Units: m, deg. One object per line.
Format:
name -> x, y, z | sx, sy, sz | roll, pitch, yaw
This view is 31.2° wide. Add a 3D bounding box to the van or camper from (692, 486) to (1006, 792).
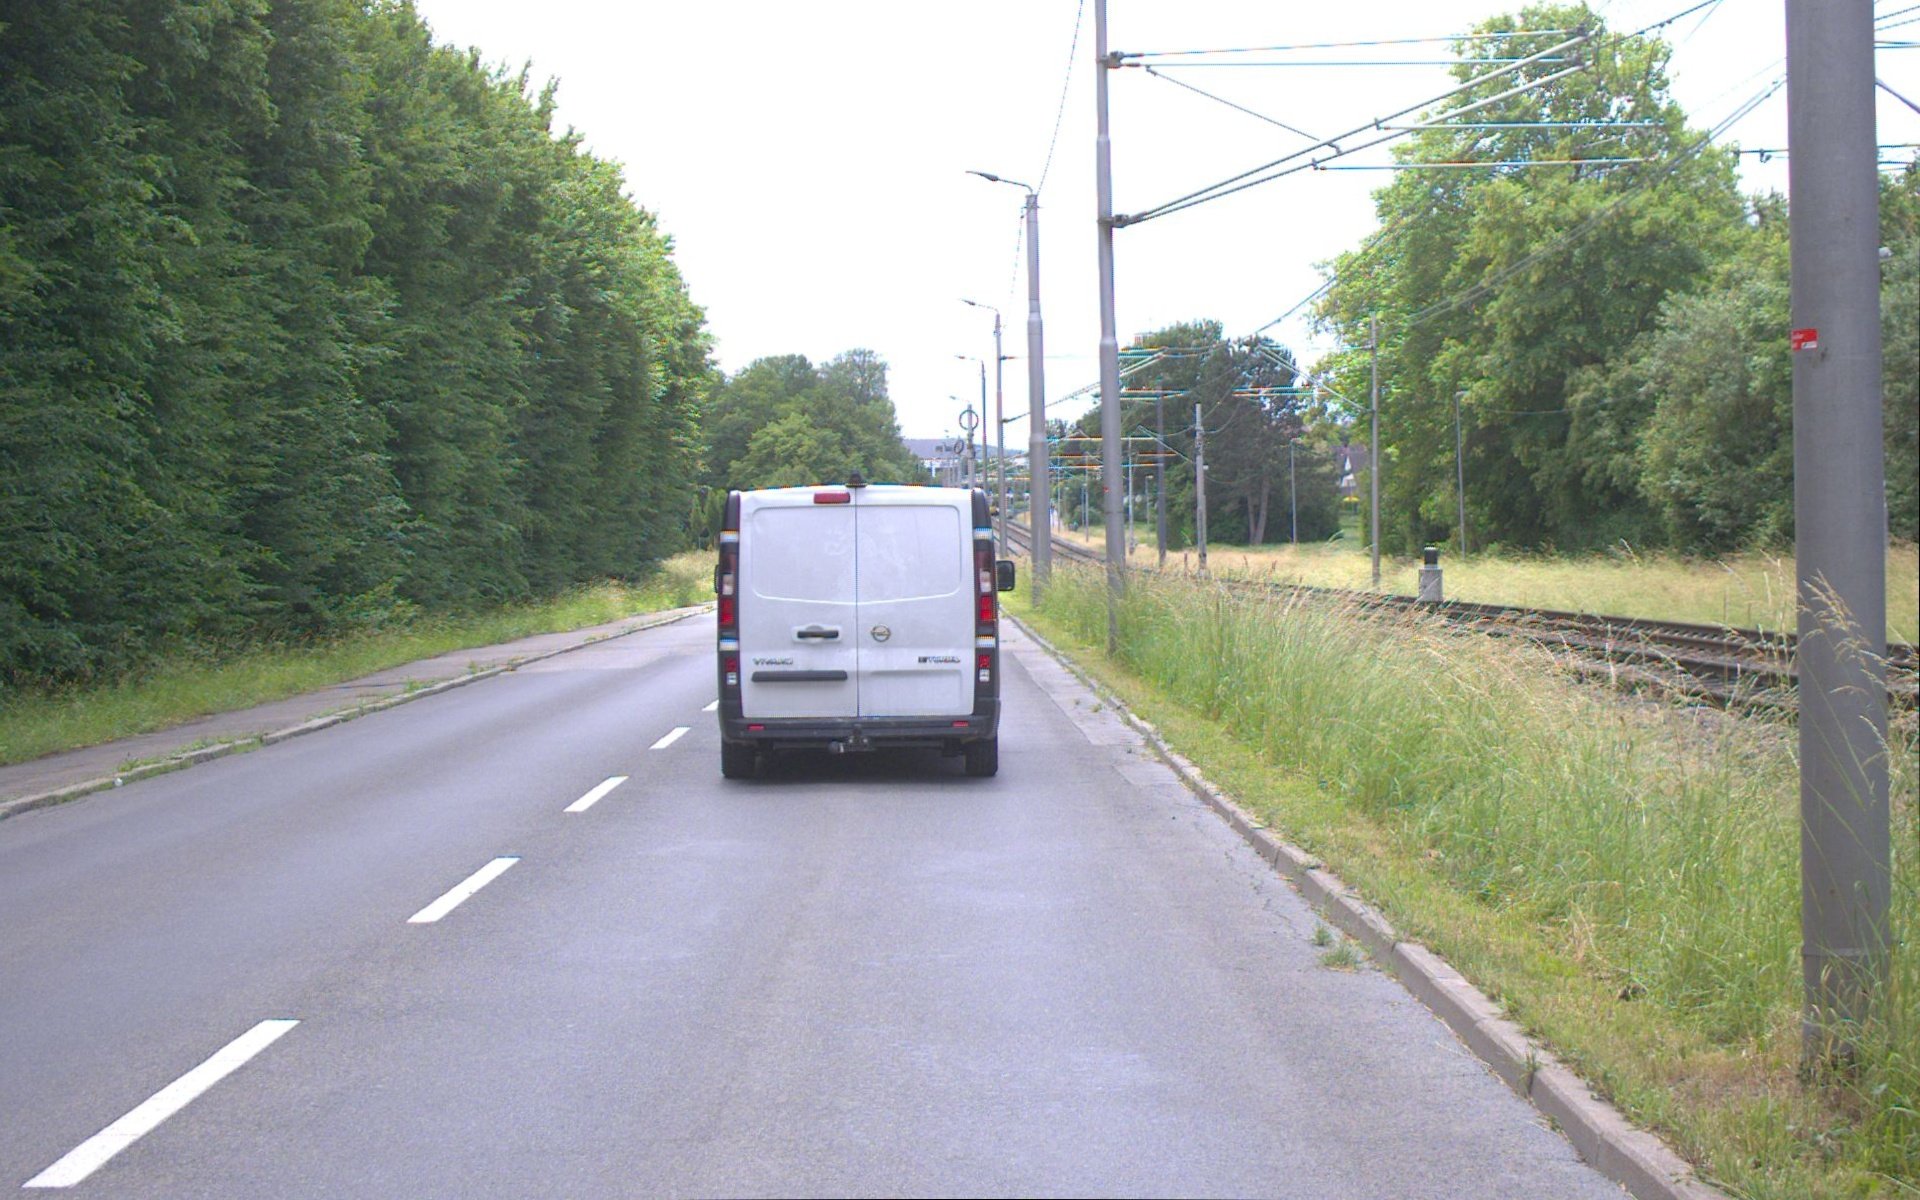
van or camper -> -0.741, 0.202, 23.978 | 1.942, 1.890, 4.285 | 2, 1, -1
